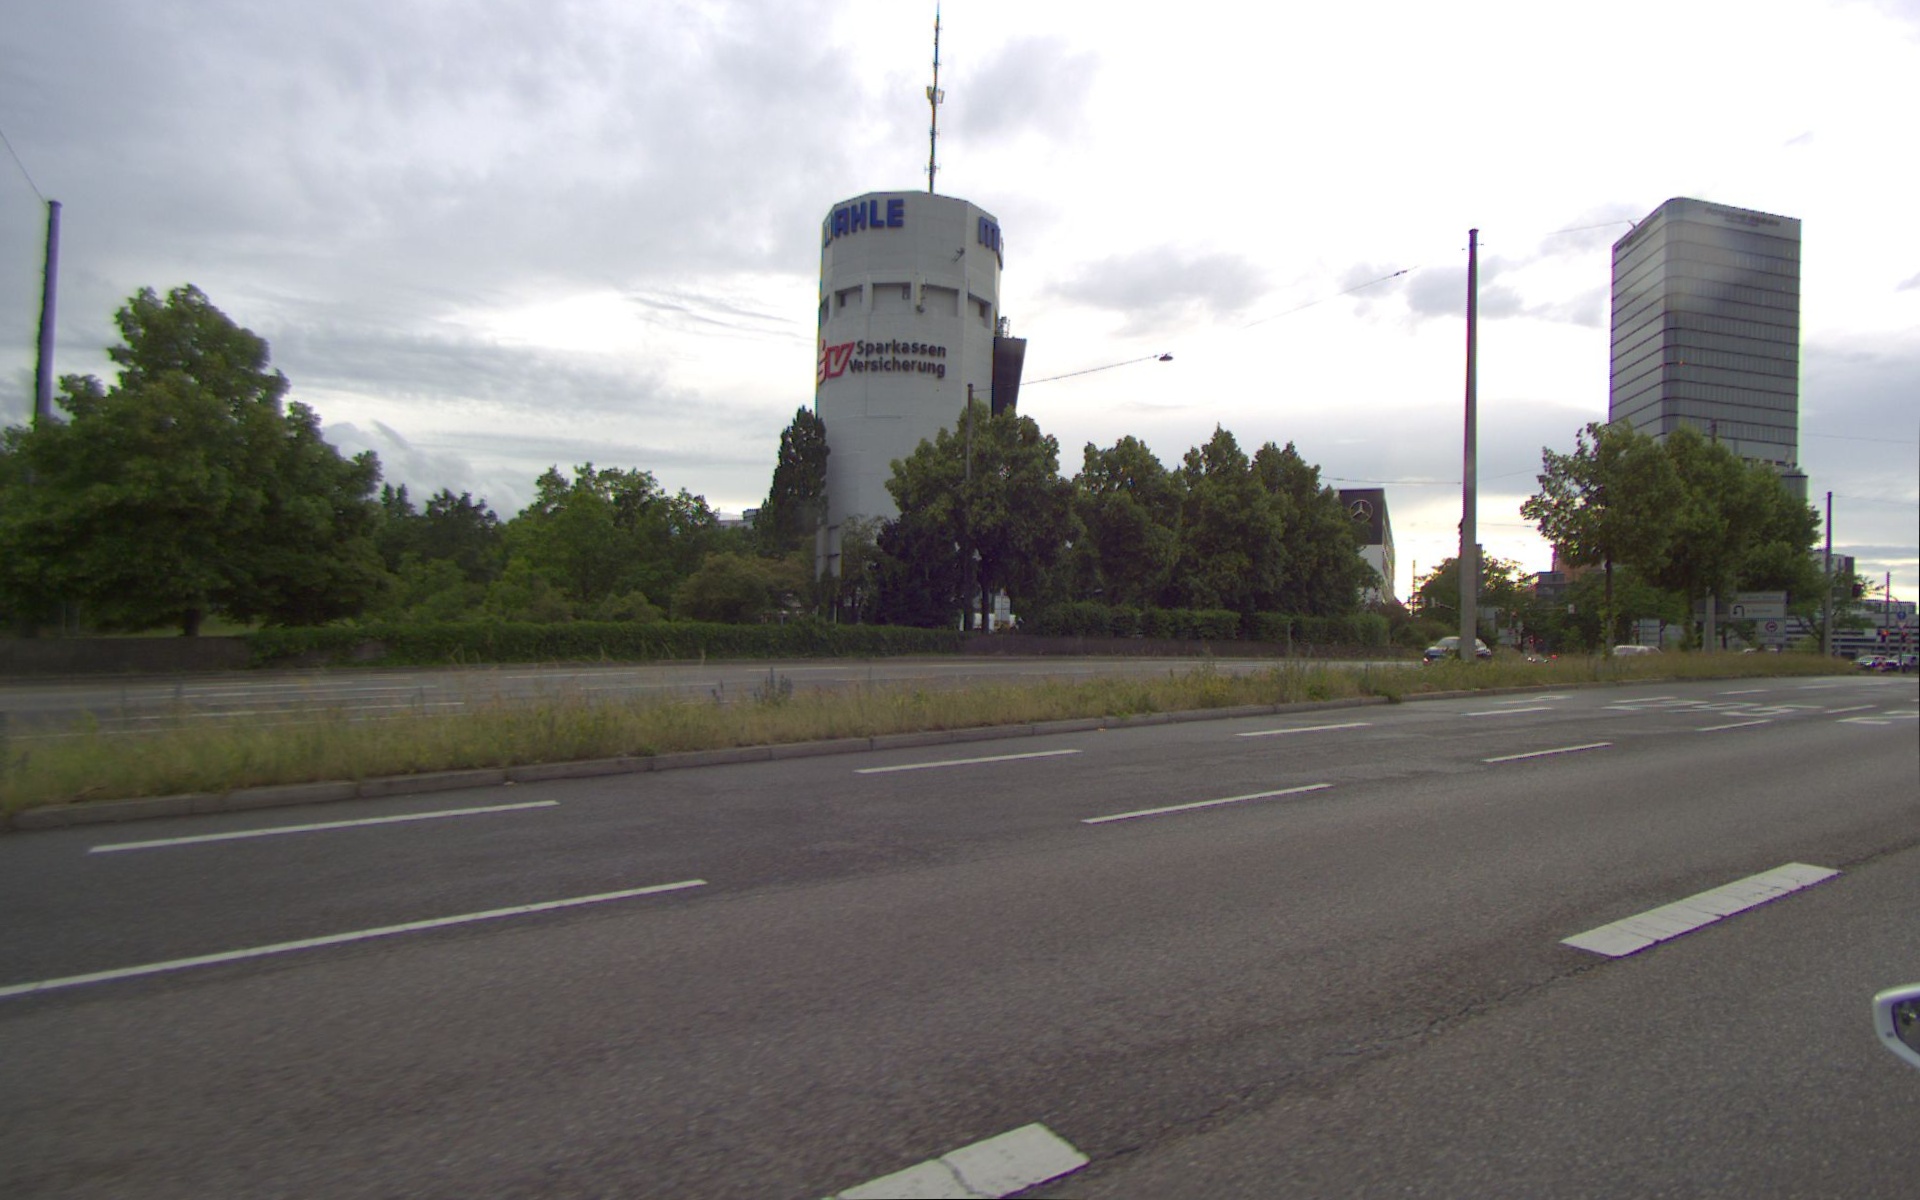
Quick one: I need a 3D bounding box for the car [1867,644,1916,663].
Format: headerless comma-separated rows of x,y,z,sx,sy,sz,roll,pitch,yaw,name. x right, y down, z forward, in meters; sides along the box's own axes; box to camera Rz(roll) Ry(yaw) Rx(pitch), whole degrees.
80.138,4.623,86.395,4.526,1.503,1.921,2,-1,-30,car

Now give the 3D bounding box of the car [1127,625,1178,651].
15.914,3.143,82.958,3.962,2.040,1.979,1,-1,-37,car

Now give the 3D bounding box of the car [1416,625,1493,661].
21.755,1.852,44.141,3.642,1.379,1.582,-1,2,-37,car

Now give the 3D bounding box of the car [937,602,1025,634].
1.665,1.379,75.977,6.948,2.159,2.361,3,-1,-42,car
